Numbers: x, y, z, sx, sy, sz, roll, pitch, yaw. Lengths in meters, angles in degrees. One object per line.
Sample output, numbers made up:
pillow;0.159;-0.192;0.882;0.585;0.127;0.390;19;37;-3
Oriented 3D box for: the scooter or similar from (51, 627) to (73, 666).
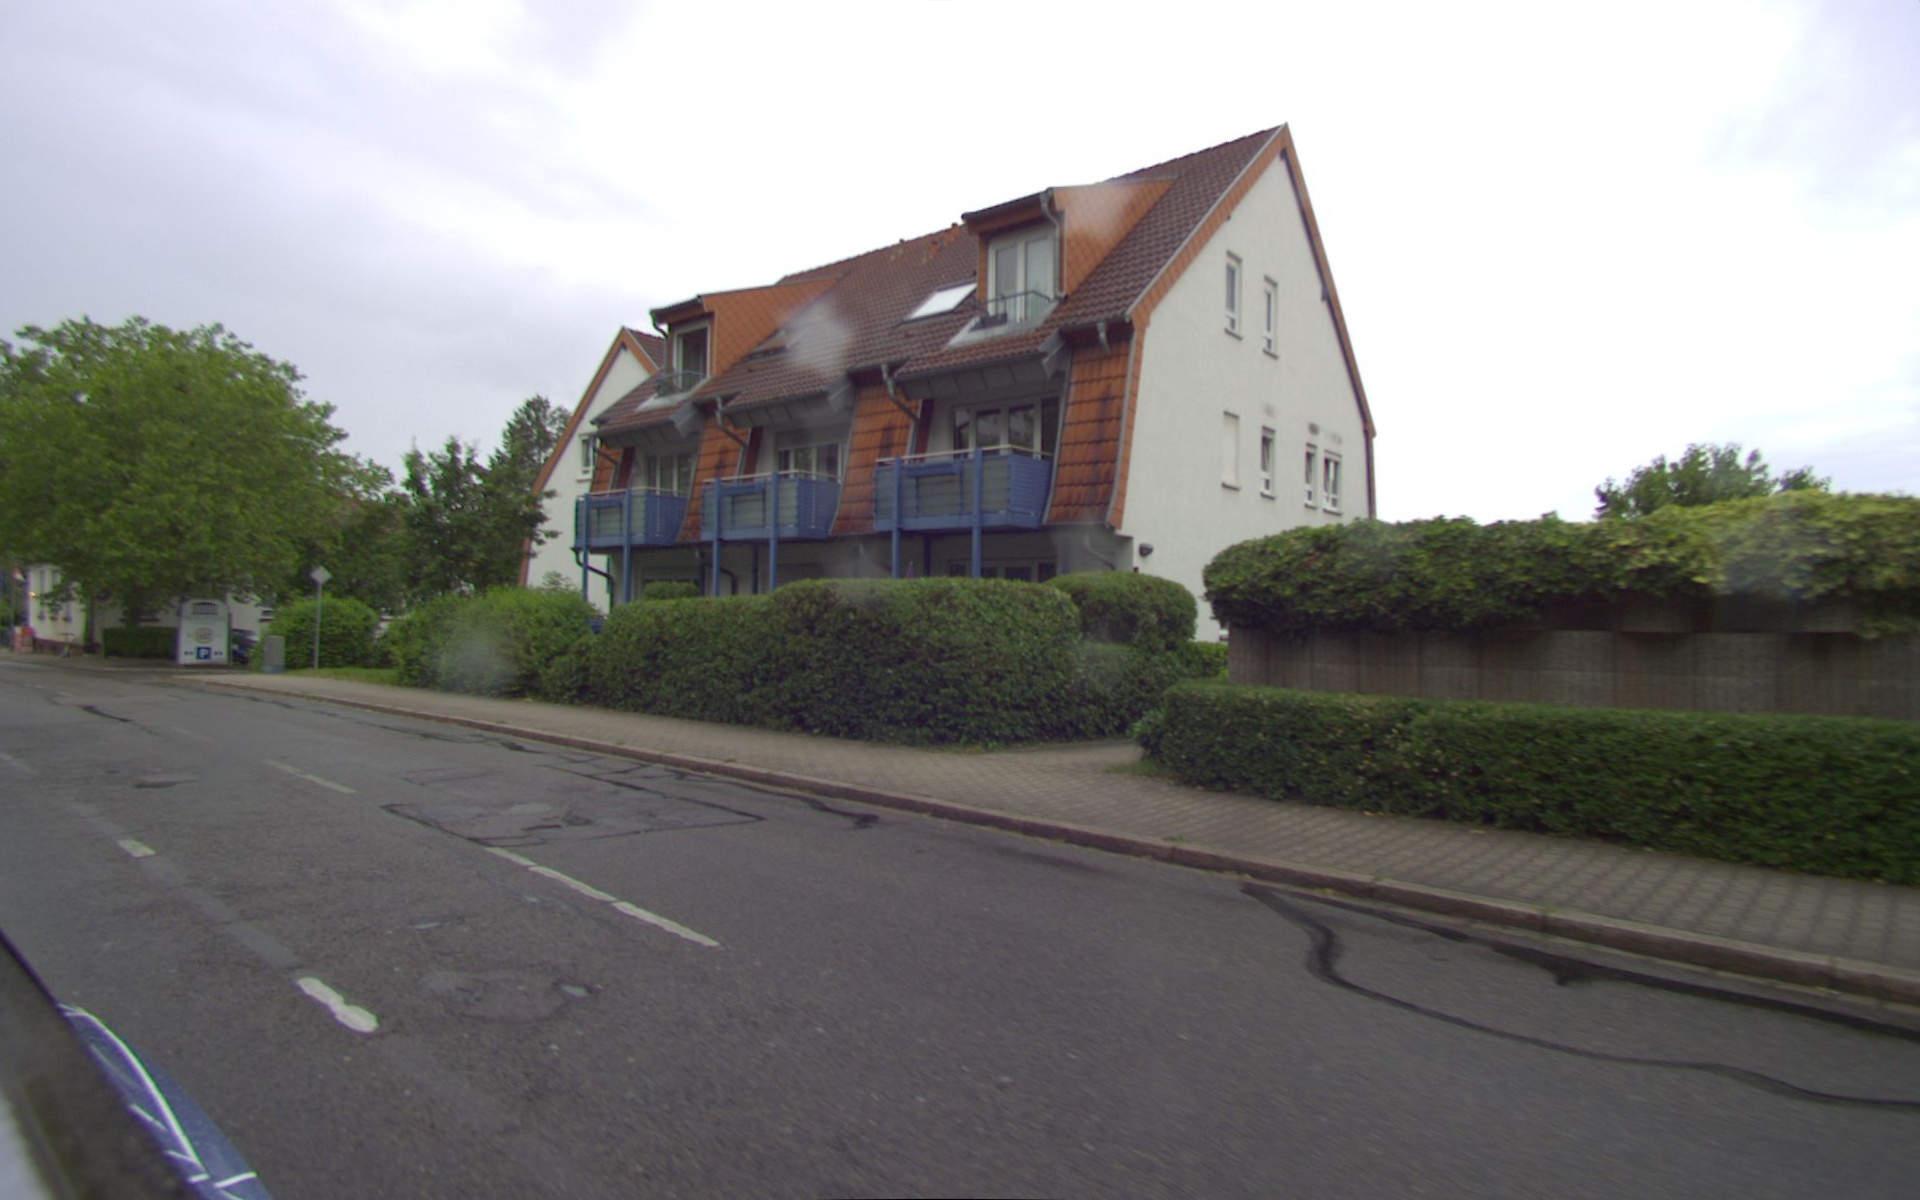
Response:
scooter or similar;-42.057;2.187;47.409;1.509;1.788;0.397;-1;-1;35
